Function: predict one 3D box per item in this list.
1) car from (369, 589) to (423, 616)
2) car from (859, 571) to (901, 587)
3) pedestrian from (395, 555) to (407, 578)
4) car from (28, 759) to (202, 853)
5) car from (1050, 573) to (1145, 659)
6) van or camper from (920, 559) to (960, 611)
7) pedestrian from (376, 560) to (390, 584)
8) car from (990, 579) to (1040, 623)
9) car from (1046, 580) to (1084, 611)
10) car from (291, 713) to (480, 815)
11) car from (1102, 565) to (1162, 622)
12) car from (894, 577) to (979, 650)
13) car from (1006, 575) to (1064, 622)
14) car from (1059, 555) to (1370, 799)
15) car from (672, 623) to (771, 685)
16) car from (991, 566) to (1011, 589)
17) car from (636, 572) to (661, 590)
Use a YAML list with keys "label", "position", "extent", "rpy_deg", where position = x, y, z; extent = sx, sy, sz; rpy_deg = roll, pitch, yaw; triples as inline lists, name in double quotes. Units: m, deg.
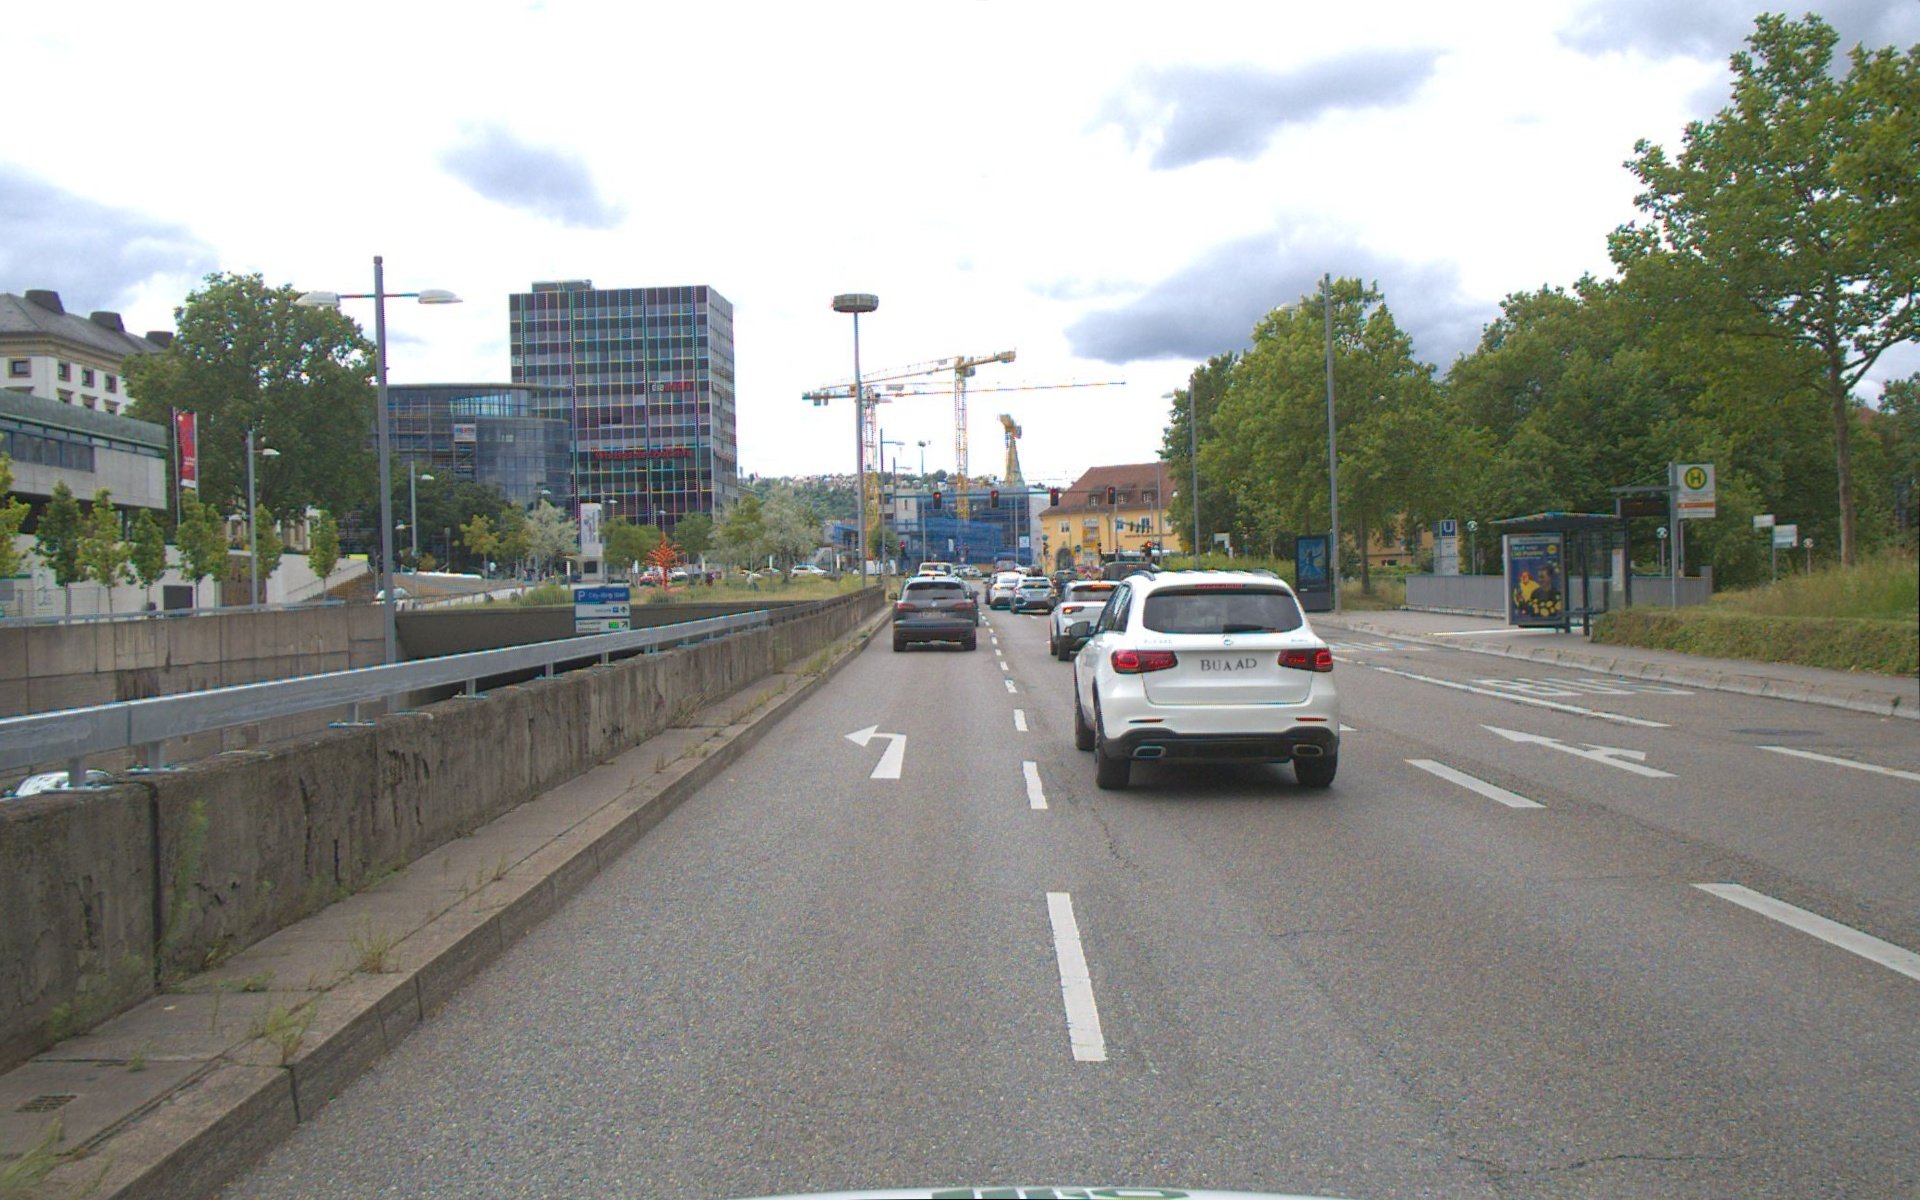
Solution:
- label: "car"
  position: [-31.229, 0.145, 91.631]
  extent: [1.772, 1.452, 3.706]
  rpy_deg: [1, -1, -2]
- label: "car"
  position: [-10.409, -2.740, 215.235]
  extent: [5.171, 2.096, 1.870]
  rpy_deg: [0, -1, 29]
- label: "pedestrian"
  position: [-44.122, -2.620, 130.555]
  extent: [0.679, 1.759, 0.641]
  rpy_deg: [0, -1, 23]
- label: "car"
  position: [-18.590, 4.508, 36.602]
  extent: [1.713, 1.512, 4.215]
  rpy_deg: [0, 0, -1]
- label: "car"
  position: [2.771, 0.324, 34.047]
  extent: [1.638, 1.656, 4.000]
  rpy_deg: [1, 0, 0]
- label: "van or camper"
  position: [-1.004, -0.713, 82.958]
  extent: [1.883, 2.360, 3.999]
  rpy_deg: [2, -2, -1]
- label: "pedestrian"
  position: [-41.869, -2.033, 119.989]
  extent: [0.681, 1.759, 0.638]
  rpy_deg: [0, -1, 36]
- label: "car"
  position: [2.308, 0.072, 70.163]
  extent: [1.953, 1.812, 3.999]
  rpy_deg: [1, -1, -1]
- label: "car"
  position: [5.745, -0.257, 90.456]
  extent: [1.684, 1.612, 3.998]
  rpy_deg: [1, 0, -2]
- label: "car"
  position: [-10.605, 2.997, 30.944]
  extent: [1.775, 1.486, 4.863]
  rpy_deg: [0, -1, 1]
- label: "car"
  position: [6.409, -0.252, 62.025]
  extent: [1.751, 2.049, 3.999]
  rpy_deg: [0, 0, -1]
- label: "car"
  position: [-0.552, 0.286, 39.119]
  extent: [1.883, 1.630, 3.999]
  rpy_deg: [0, 0, -1]
- label: "car"
  position: [2.845, -0.037, 63.324]
  extent: [1.953, 1.691, 3.999]
  rpy_deg: [1, -1, -1]
- label: "car"
  position: [1.932, 0.568, 13.756]
  extent: [1.901, 1.713, 3.999]
  rpy_deg: [-1, -1, -1]
- label: "car"
  position: [-5.574, 1.233, 39.037]
  extent: [1.683, 1.315, 4.000]
  rpy_deg: [1, 0, 1]
- label: "car"
  position: [3.859, -2.082, 155.820]
  extent: [1.763, 2.049, 3.999]
  rpy_deg: [1, -1, -1]
- label: "car"
  position: [-31.501, -1.917, 167.354]
  extent: [1.829, 1.646, 3.480]
  rpy_deg: [1, -1, -1]
